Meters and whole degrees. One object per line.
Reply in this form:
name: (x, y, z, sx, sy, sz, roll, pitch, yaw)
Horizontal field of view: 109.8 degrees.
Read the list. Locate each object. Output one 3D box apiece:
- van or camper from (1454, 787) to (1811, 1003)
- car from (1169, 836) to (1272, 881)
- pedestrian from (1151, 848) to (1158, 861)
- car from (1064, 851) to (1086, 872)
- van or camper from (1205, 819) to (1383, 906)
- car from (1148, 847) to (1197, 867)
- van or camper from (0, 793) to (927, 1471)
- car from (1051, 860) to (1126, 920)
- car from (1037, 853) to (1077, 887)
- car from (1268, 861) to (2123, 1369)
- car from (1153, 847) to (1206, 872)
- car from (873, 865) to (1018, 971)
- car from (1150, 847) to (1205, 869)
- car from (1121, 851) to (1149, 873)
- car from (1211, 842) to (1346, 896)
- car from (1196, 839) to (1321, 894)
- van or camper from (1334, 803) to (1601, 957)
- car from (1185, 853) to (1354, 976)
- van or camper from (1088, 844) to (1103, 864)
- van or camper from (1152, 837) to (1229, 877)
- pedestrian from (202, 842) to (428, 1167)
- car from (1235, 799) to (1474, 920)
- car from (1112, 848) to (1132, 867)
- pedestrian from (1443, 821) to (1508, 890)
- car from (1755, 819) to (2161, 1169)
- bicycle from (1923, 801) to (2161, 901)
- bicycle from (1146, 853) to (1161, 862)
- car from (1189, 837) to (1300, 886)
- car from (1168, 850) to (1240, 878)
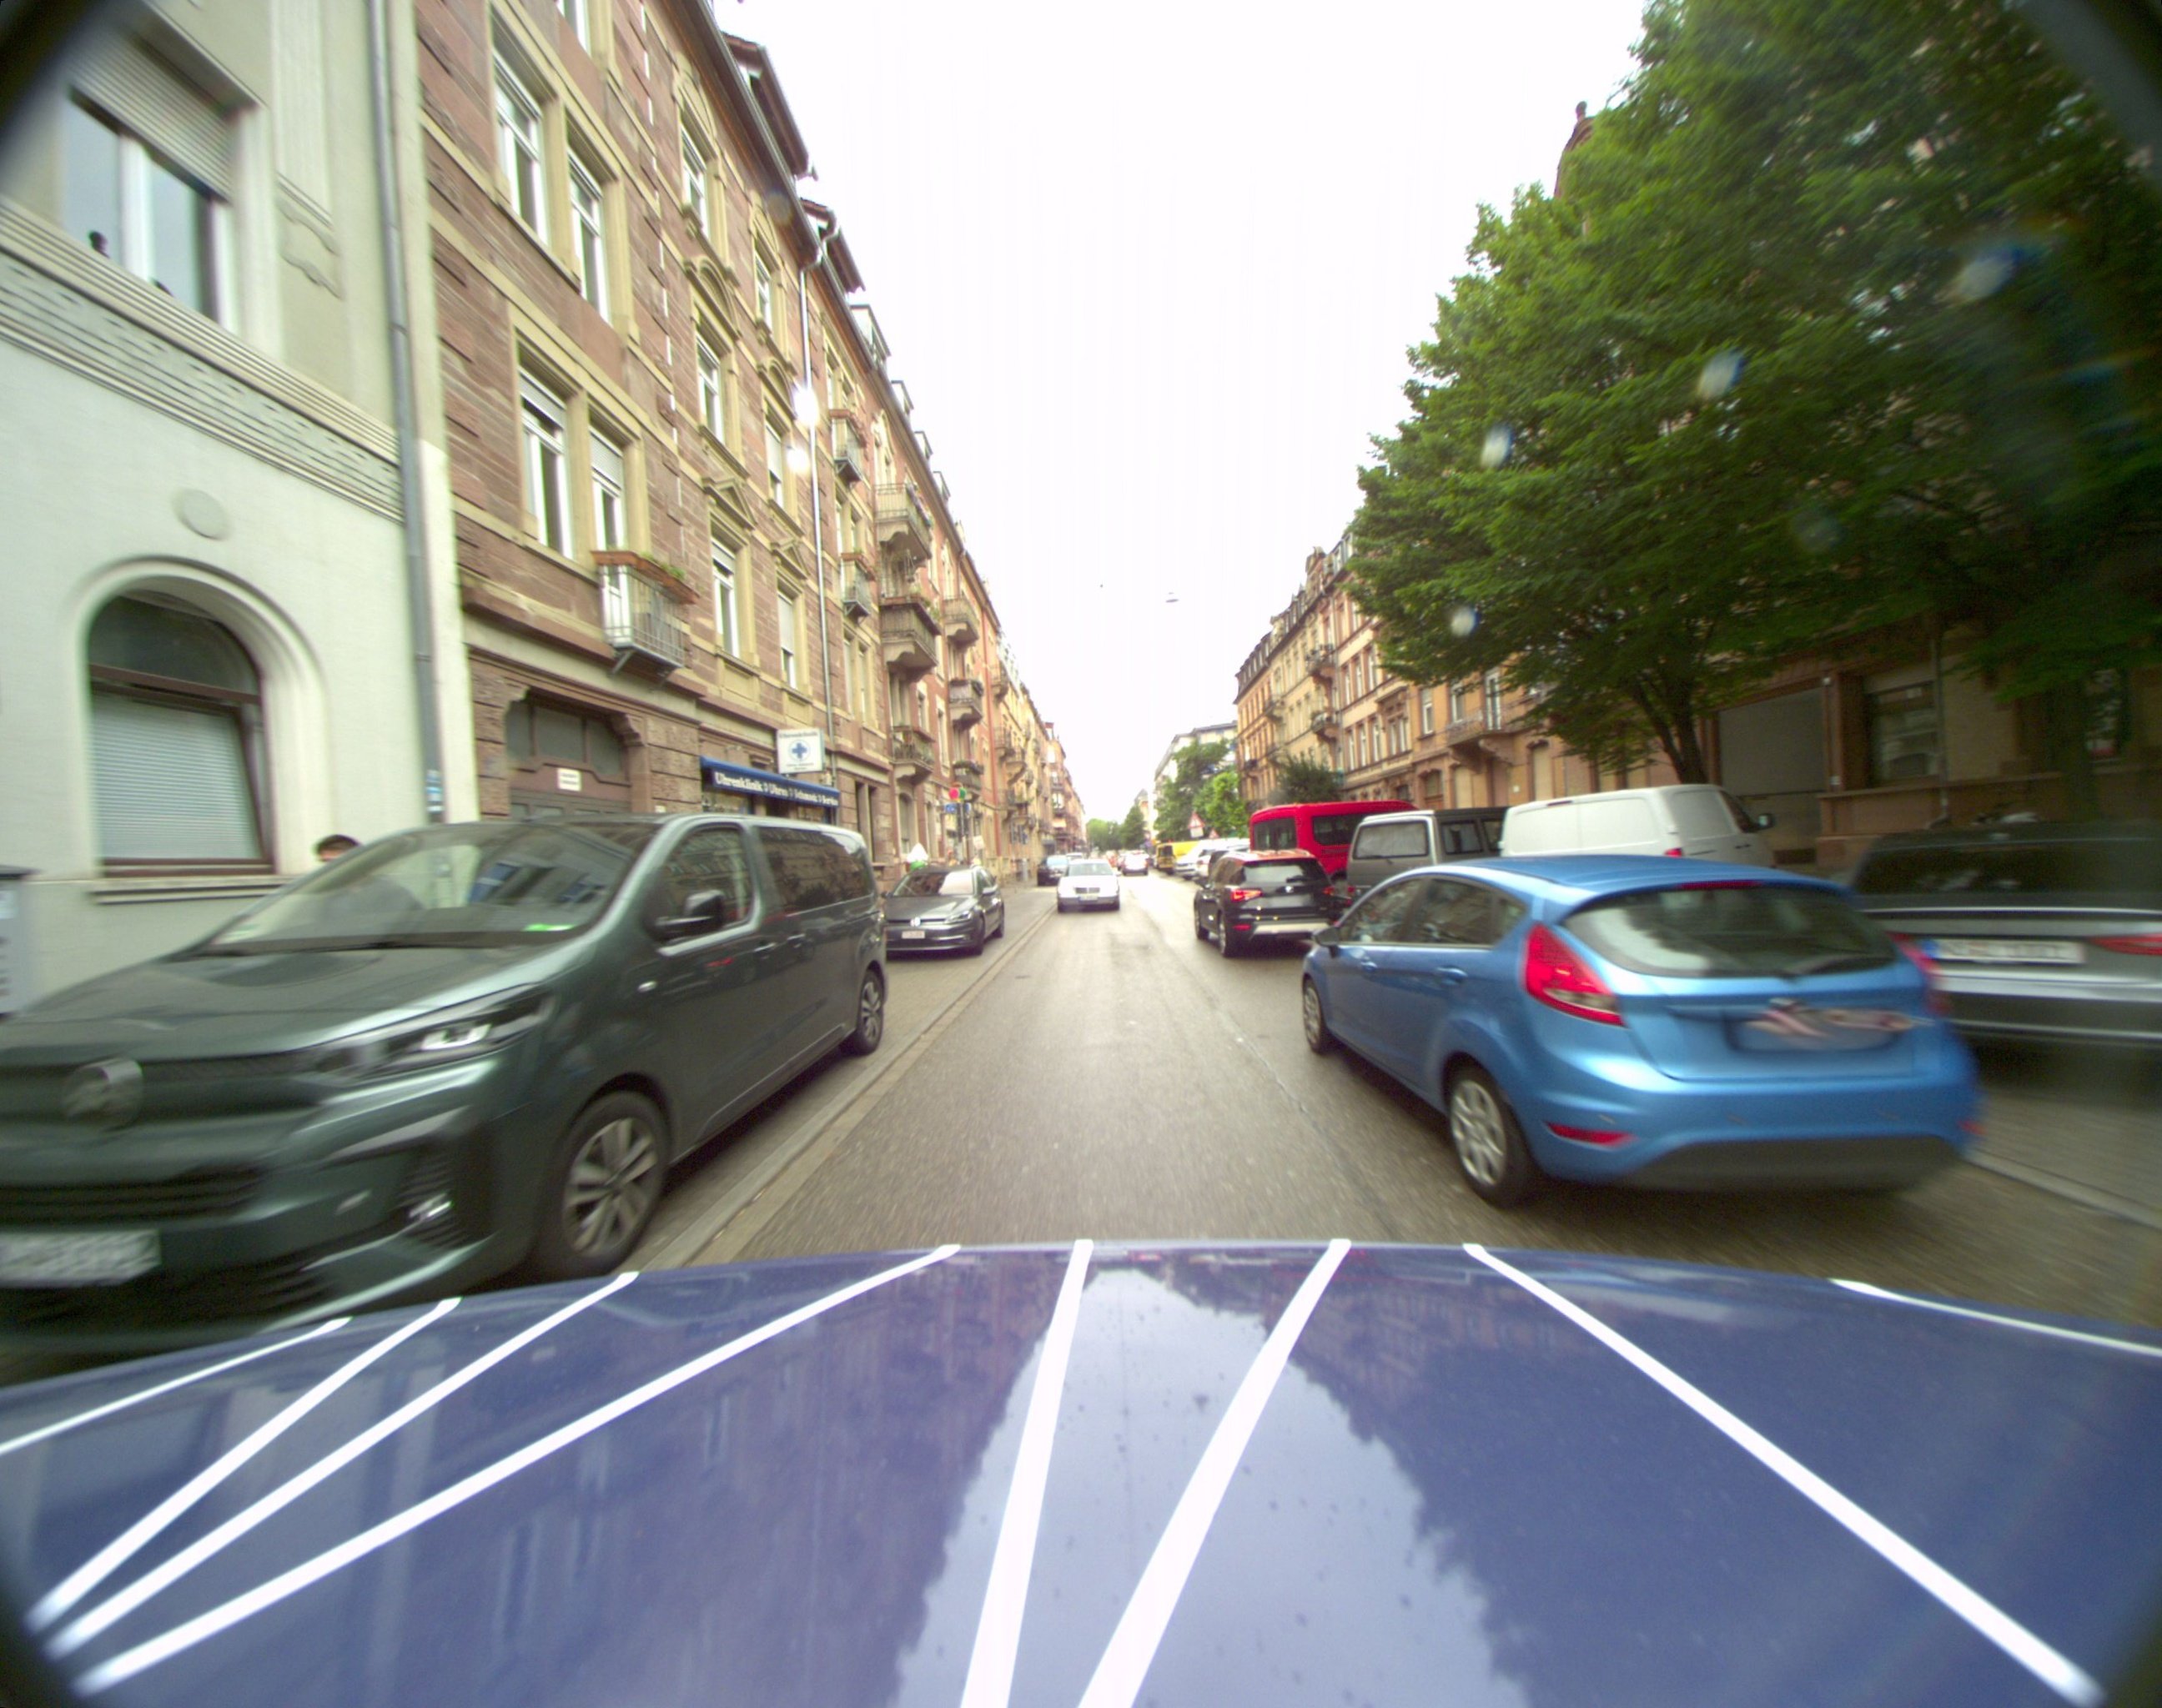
van or camper: (6.956, 0.321, 9.385, 4.705, 1.941, 2.332, -5, 0, -39)
car: (7.636, 0.214, 41.432, 5.258, 2.066, 1.867, -4, 1, -22)
pedestrian: (10.534, 0.102, 108.898, 0.862, 1.837, 0.770, -4, 0, 10)
car: (-0.595, 0.691, 73.542, 1.999, 1.927, 5.229, -2, 0, -1)
van or camper: (6.824, 0.243, 24.352, 5.031, 2.335, 2.340, -4, 0, -24)
car: (9.068, 0.322, 75.105, 4.464, 1.555, 1.995, -6, 2, -34)
van or camper: (-2.572, 0.804, 4.678, 2.026, 1.880, 5.055, -2, 0, 2)
car: (0.281, 0.964, 22.290, 1.859, 1.390, 4.980, -3, 0, 2)
car: (-1.299, 0.858, 43.775, 1.998, 1.769, 4.826, -3, 0, 1)
car: (2.405, 0.838, 4.367, 1.674, 1.457, 4.003, -3, 0, 1)
car: (8.410, 0.433, 64.648, 4.143, 1.652, 1.797, -7, 2, -34)
car: (-2.321, 1.045, 14.118, 1.845, 1.536, 4.003, -3, 0, 1)
car: (8.950, 0.369, 70.286, 4.731, 1.554, 1.996, -6, 0, -32)
car: (4.063, 0.618, 57.848, 1.800, 1.485, 4.584, -3, -1, 2)
car: (7.088, 0.533, 27.321, 4.360, 1.496, 1.752, -5, 0, -20)
car: (6.966, 0.491, 29.778, 4.449, 1.621, 1.841, -6, 0, -24)
van or camper: (6.538, 0.323, 12.708, 4.454, 1.964, 1.778, -6, 1, -31)
car: (2.817, 0.818, 12.249, 1.674, 1.550, 4.003, -3, 0, 0)
van or camper: (2.647, 0.043, 136.076, 2.411, 3.307, 7.073, -4, 0, 1)
van or camper: (7.625, 0.195, 52.763, 4.732, 2.254, 2.181, -6, 0, -30)
pedestrian: (-4.803, 0.920, 4.799, 0.827, 1.940, 0.415, -3, 3, 2)
car: (6.898, 0.078, 19.067, 5.579, 2.526, 2.225, -4, 0, -25)
car: (4.014, 0.333, 75.108, 1.863, 1.650, 5.009, -3, 0, 2)
pedestrian: (10.137, 0.046, 19.581, 0.903, 1.620, 1.089, -7, 0, -3)
car: (6.241, 0.634, 5.135, 3.985, 1.438, 1.763, -5, 0, -38)
bicycle: (13.459, -0.041, 10.621, 0.668, 1.186, 2.413, -7, 0, 3)
bicycle: (10.337, 0.511, 108.823, 1.895, 1.028, 0.661, -6, 0, -12)
car: (7.640, 0.338, 35.984, 4.590, 1.775, 2.545, -6, 0, 1)
car: (7.573, 0.621, 46.818, 4.004, 1.427, 1.781, -4, 1, -27)
